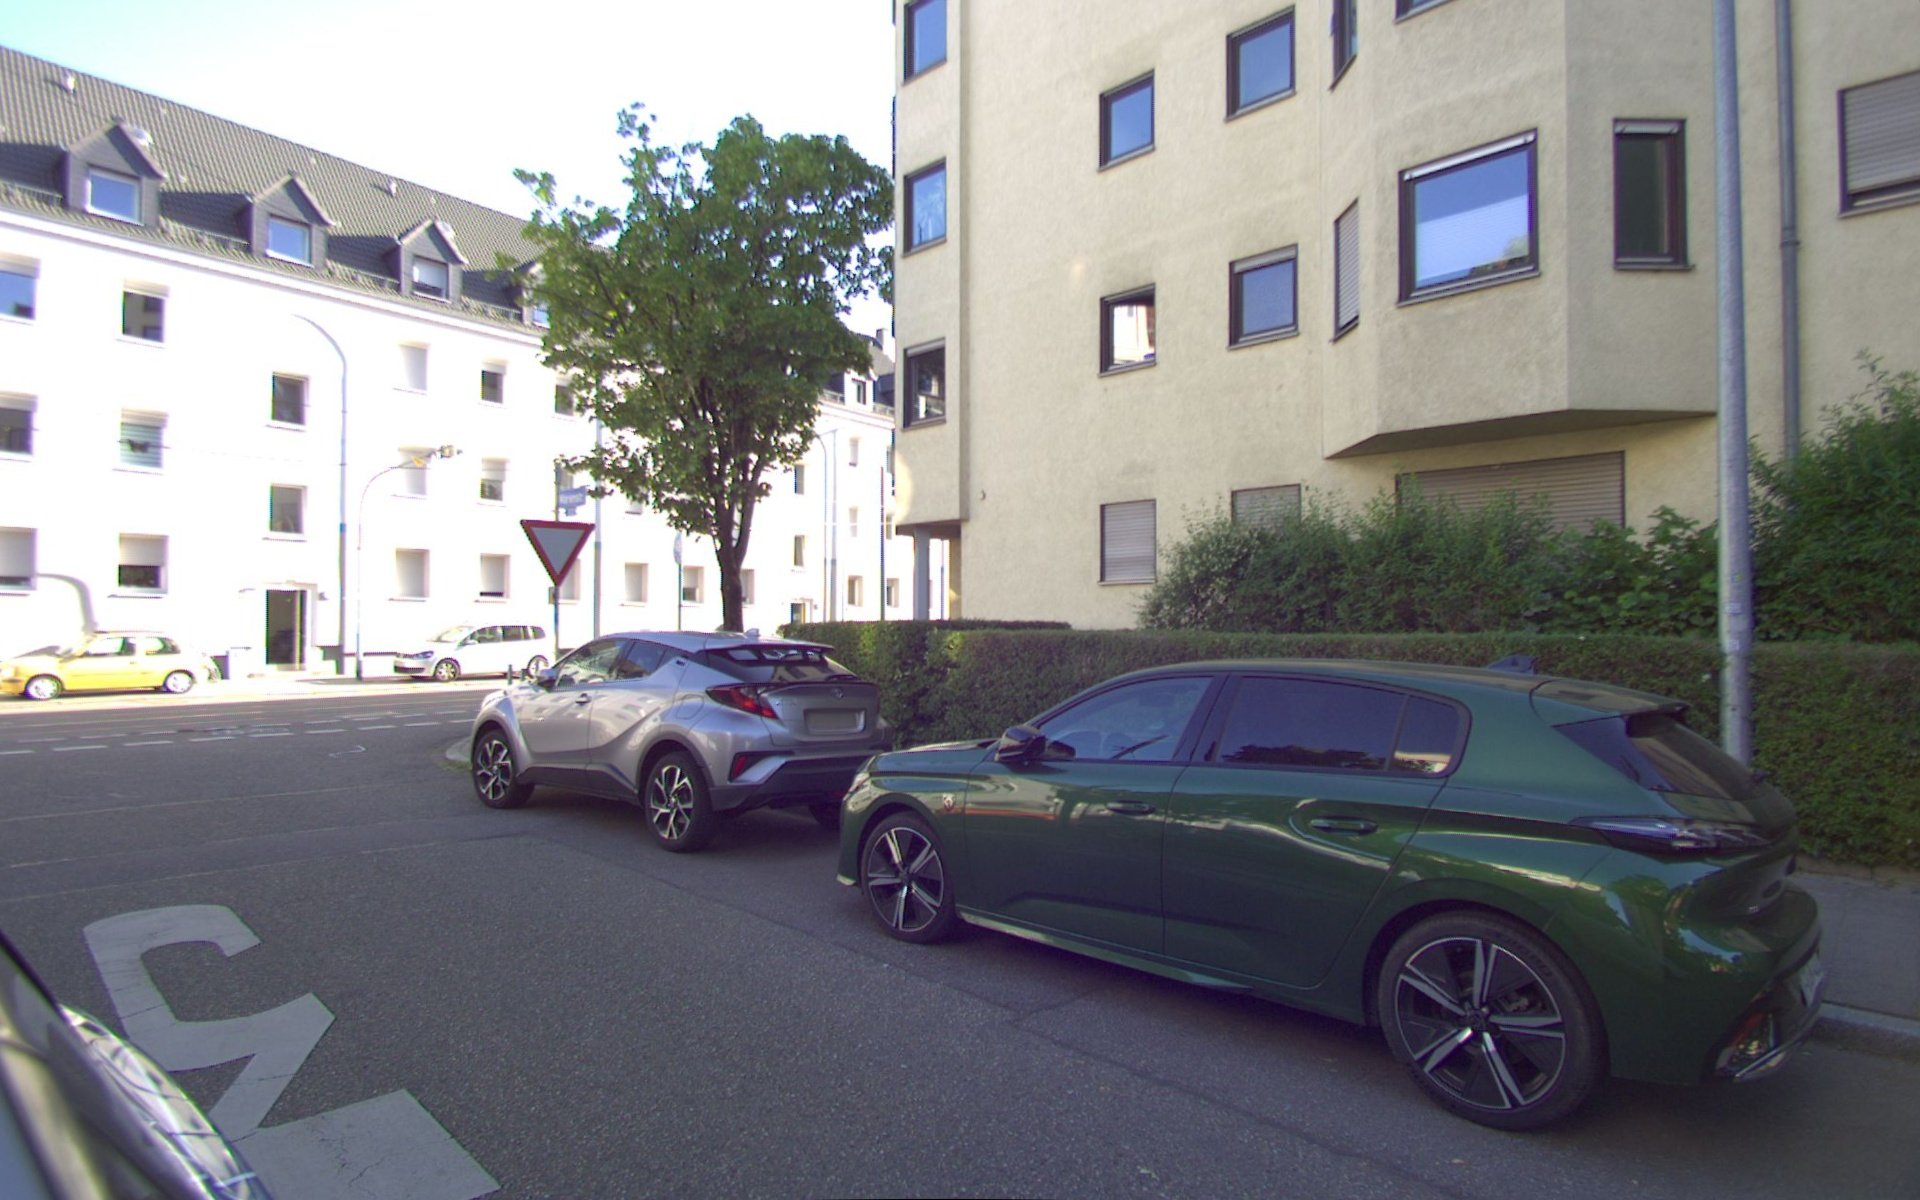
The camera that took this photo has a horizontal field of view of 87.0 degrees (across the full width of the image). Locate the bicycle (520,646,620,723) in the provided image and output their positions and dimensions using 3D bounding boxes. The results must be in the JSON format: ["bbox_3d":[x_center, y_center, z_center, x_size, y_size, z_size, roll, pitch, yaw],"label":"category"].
[{"bbox_3d":[-5.981,1.256,15.458,1.881,1.093,0.587,-1,-2,40],"label":"bicycle"}]

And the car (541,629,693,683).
[{"bbox_3d":[-10.992,1.740,32.692,1.868,1.566,4.309,1,-1,39],"label":"car"}]

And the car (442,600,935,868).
[{"bbox_3d":[-2.349,0.908,8.341,3.995,1.672,1.885,-1,-4,38],"label":"car"}]

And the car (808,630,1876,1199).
[{"bbox_3d":[1.280,0.923,4.556,4.137,1.508,1.732,-1,-4,45],"label":"car"}]

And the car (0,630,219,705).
[{"bbox_3d":[-18.833,1.399,21.997,1.516,1.441,4.148,0,-1,37],"label":"car"}]

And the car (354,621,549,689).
[{"bbox_3d":[-14.180,1.479,28.479,1.757,1.678,4.571,3,0,35],"label":"car"}]

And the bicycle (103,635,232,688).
[{"bbox_3d":[-19.494,1.479,24.937,1.097,1.206,2.298,-1,-2,36],"label":"bicycle"}]
